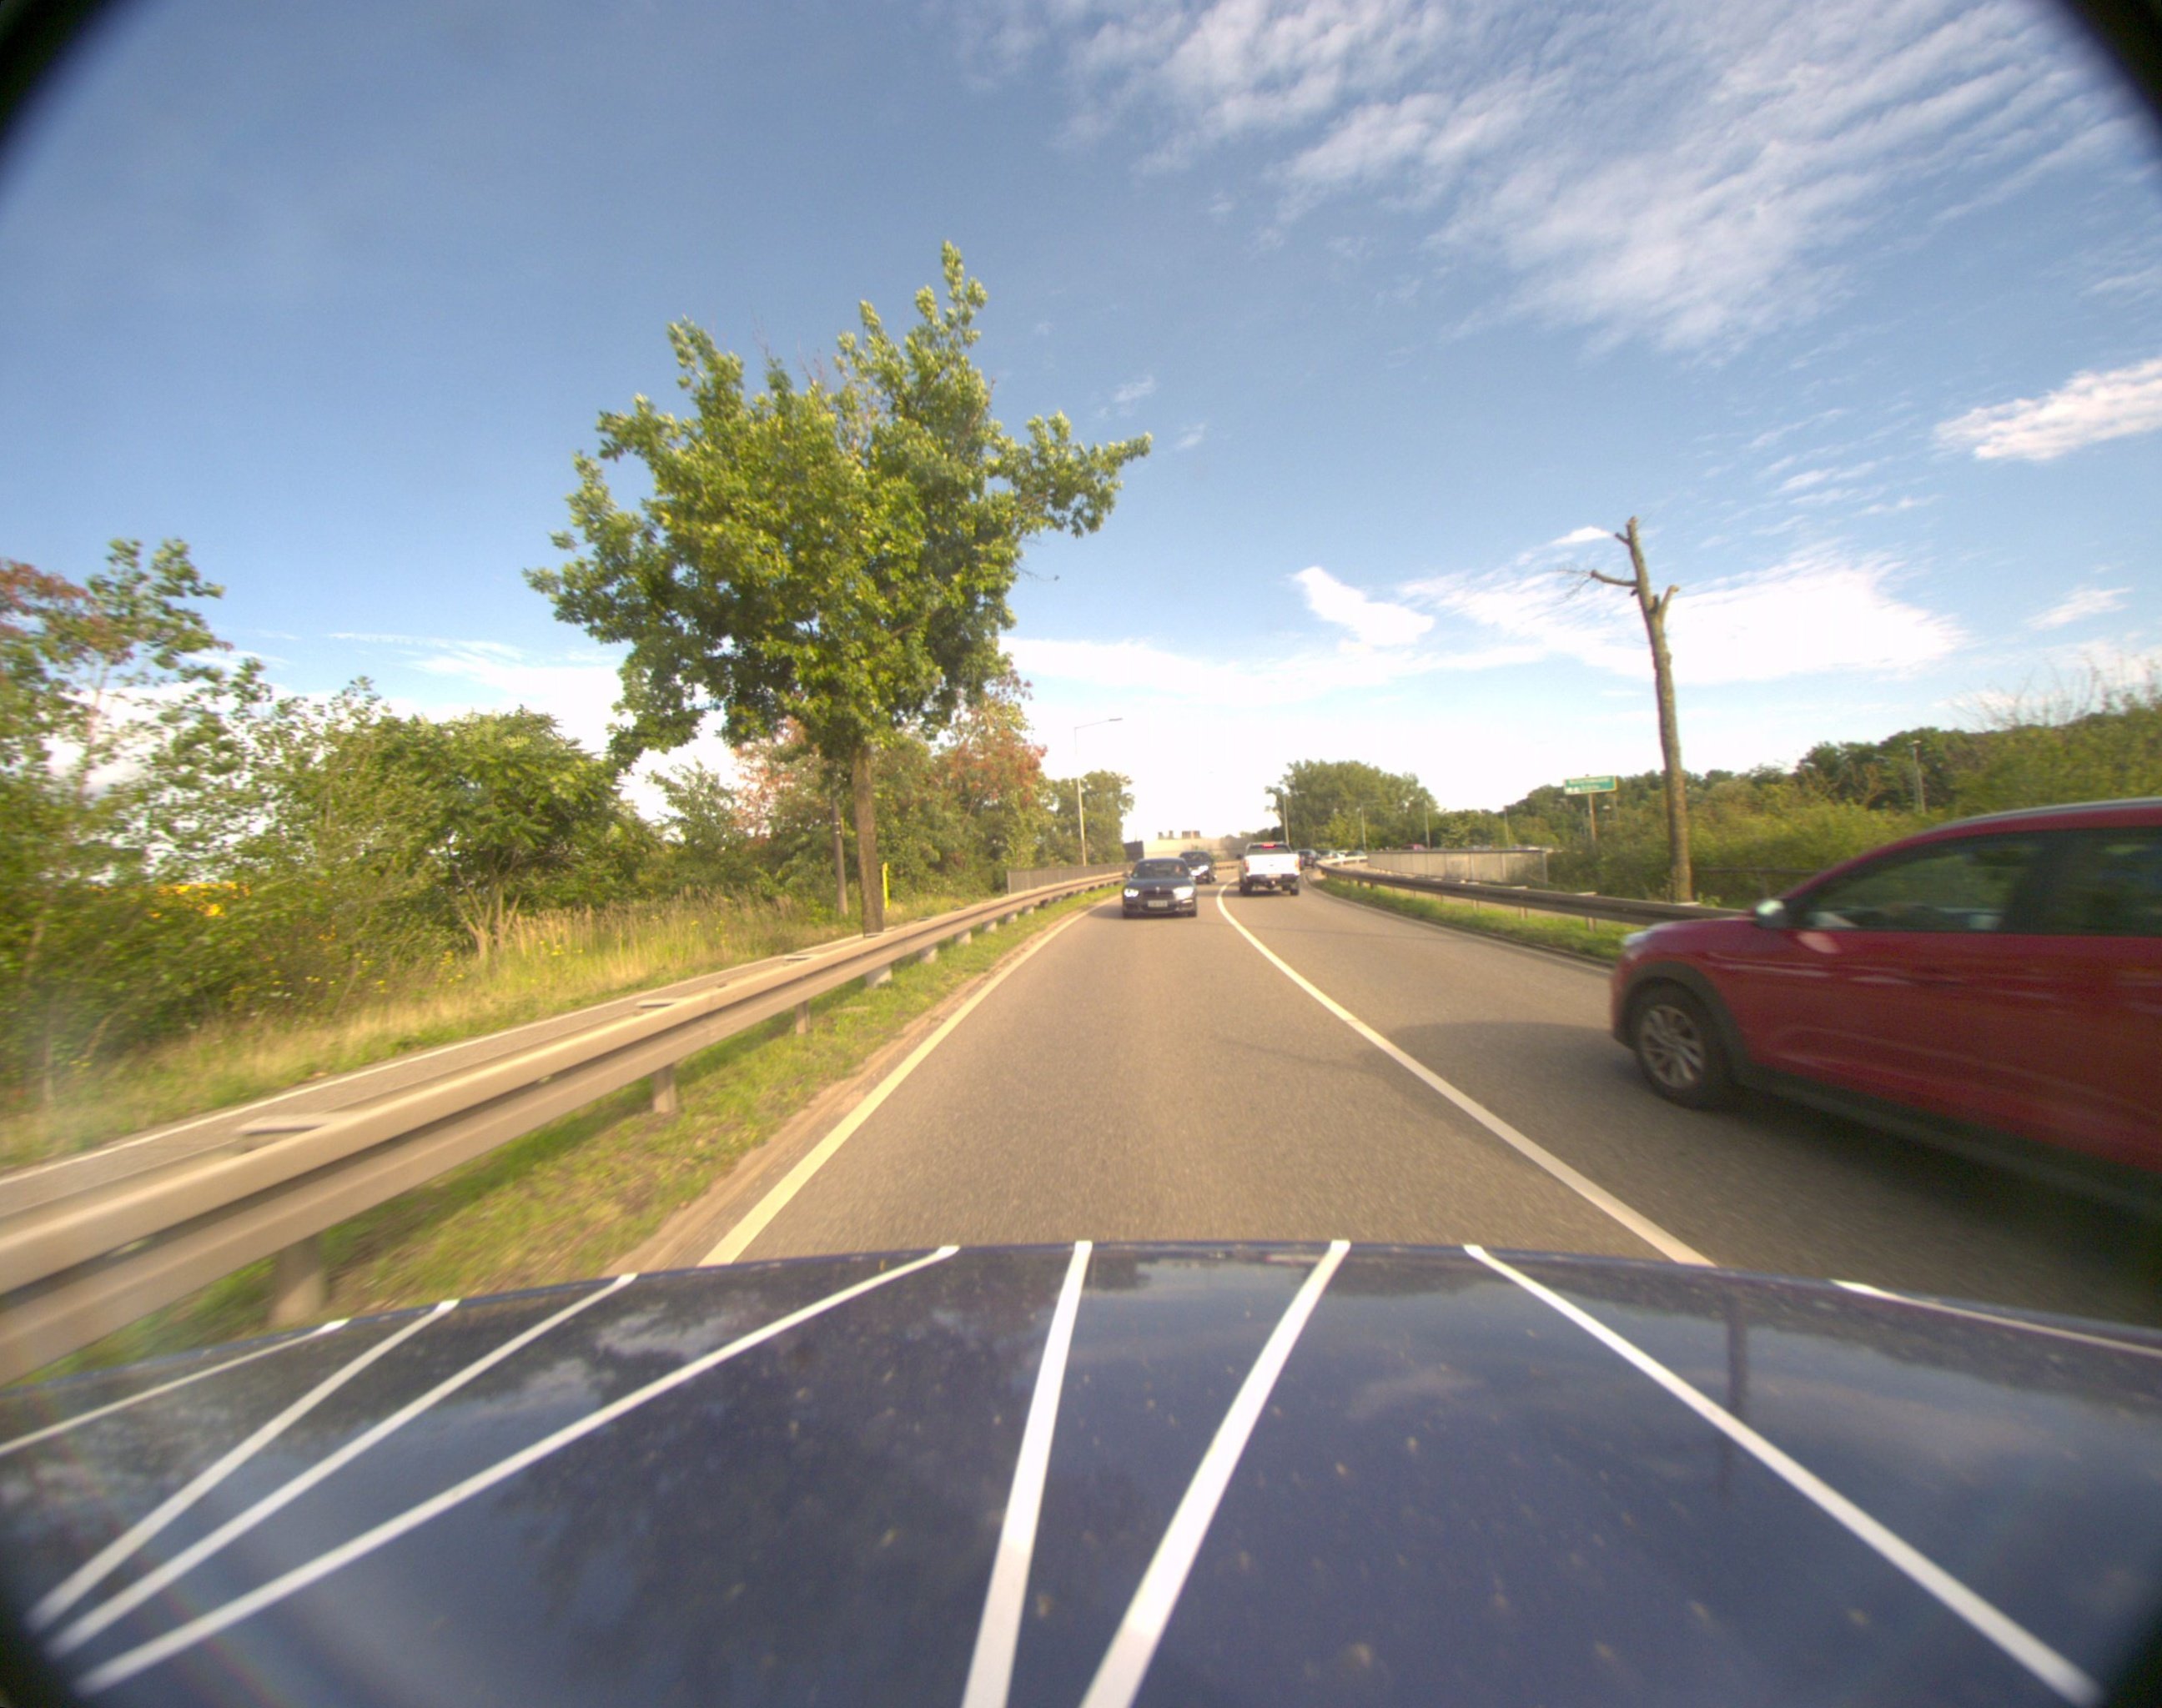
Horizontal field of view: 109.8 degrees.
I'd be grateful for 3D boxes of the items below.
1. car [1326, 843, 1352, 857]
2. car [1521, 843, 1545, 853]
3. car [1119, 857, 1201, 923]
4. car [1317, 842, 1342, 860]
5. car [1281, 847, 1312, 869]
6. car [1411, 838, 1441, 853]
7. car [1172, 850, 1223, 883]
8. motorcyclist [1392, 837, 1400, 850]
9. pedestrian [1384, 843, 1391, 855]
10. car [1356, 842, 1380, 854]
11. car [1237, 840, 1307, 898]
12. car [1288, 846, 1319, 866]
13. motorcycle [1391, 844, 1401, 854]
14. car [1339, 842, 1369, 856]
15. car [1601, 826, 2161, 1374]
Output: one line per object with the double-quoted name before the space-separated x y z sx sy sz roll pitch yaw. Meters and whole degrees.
"car" 30.921 -0.512 91.086 1.815 1.498 4.399 -1 0 34
"car" 73.172 -1.011 122.968 4.084 1.492 1.742 -2 0 -35
"car" 2.069 0.828 19.047 1.785 1.396 3.973 -2 0 9
"car" 23.784 -0.297 72.643 1.683 1.639 4.305 -2 0 26
"car" 16.146 0.254 56.865 1.801 1.511 4.014 -2 0 22
"car" 45.392 -1.094 99.999 2.008 1.892 4.877 -1 0 44
"car" 5.894 0.595 38.093 1.816 1.498 4.396 -2 0 17
"motorcyclist" 39.515 -1.303 95.420 0.620 1.544 0.939 -1 1 43
"pedestrian" 45.940 -0.734 113.934 0.867 1.652 0.677 -3 1 -44
"car" 38.327 -0.843 101.326 1.815 1.498 4.400 -1 0 38
"car" 6.611 0.452 26.818 1.904 1.800 5.407 -2 0 9
"car" 18.866 0.151 64.370 1.927 1.639 4.595 -2 0 24
"motorcycle" 39.567 -0.629 95.440 0.620 1.245 1.796 -1 1 42
"car" 29.989 -0.538 83.383 1.834 1.457 4.526 -1 0 36
"car" 4.199 0.729 2.714 1.813 1.664 4.297 -2 0 2
